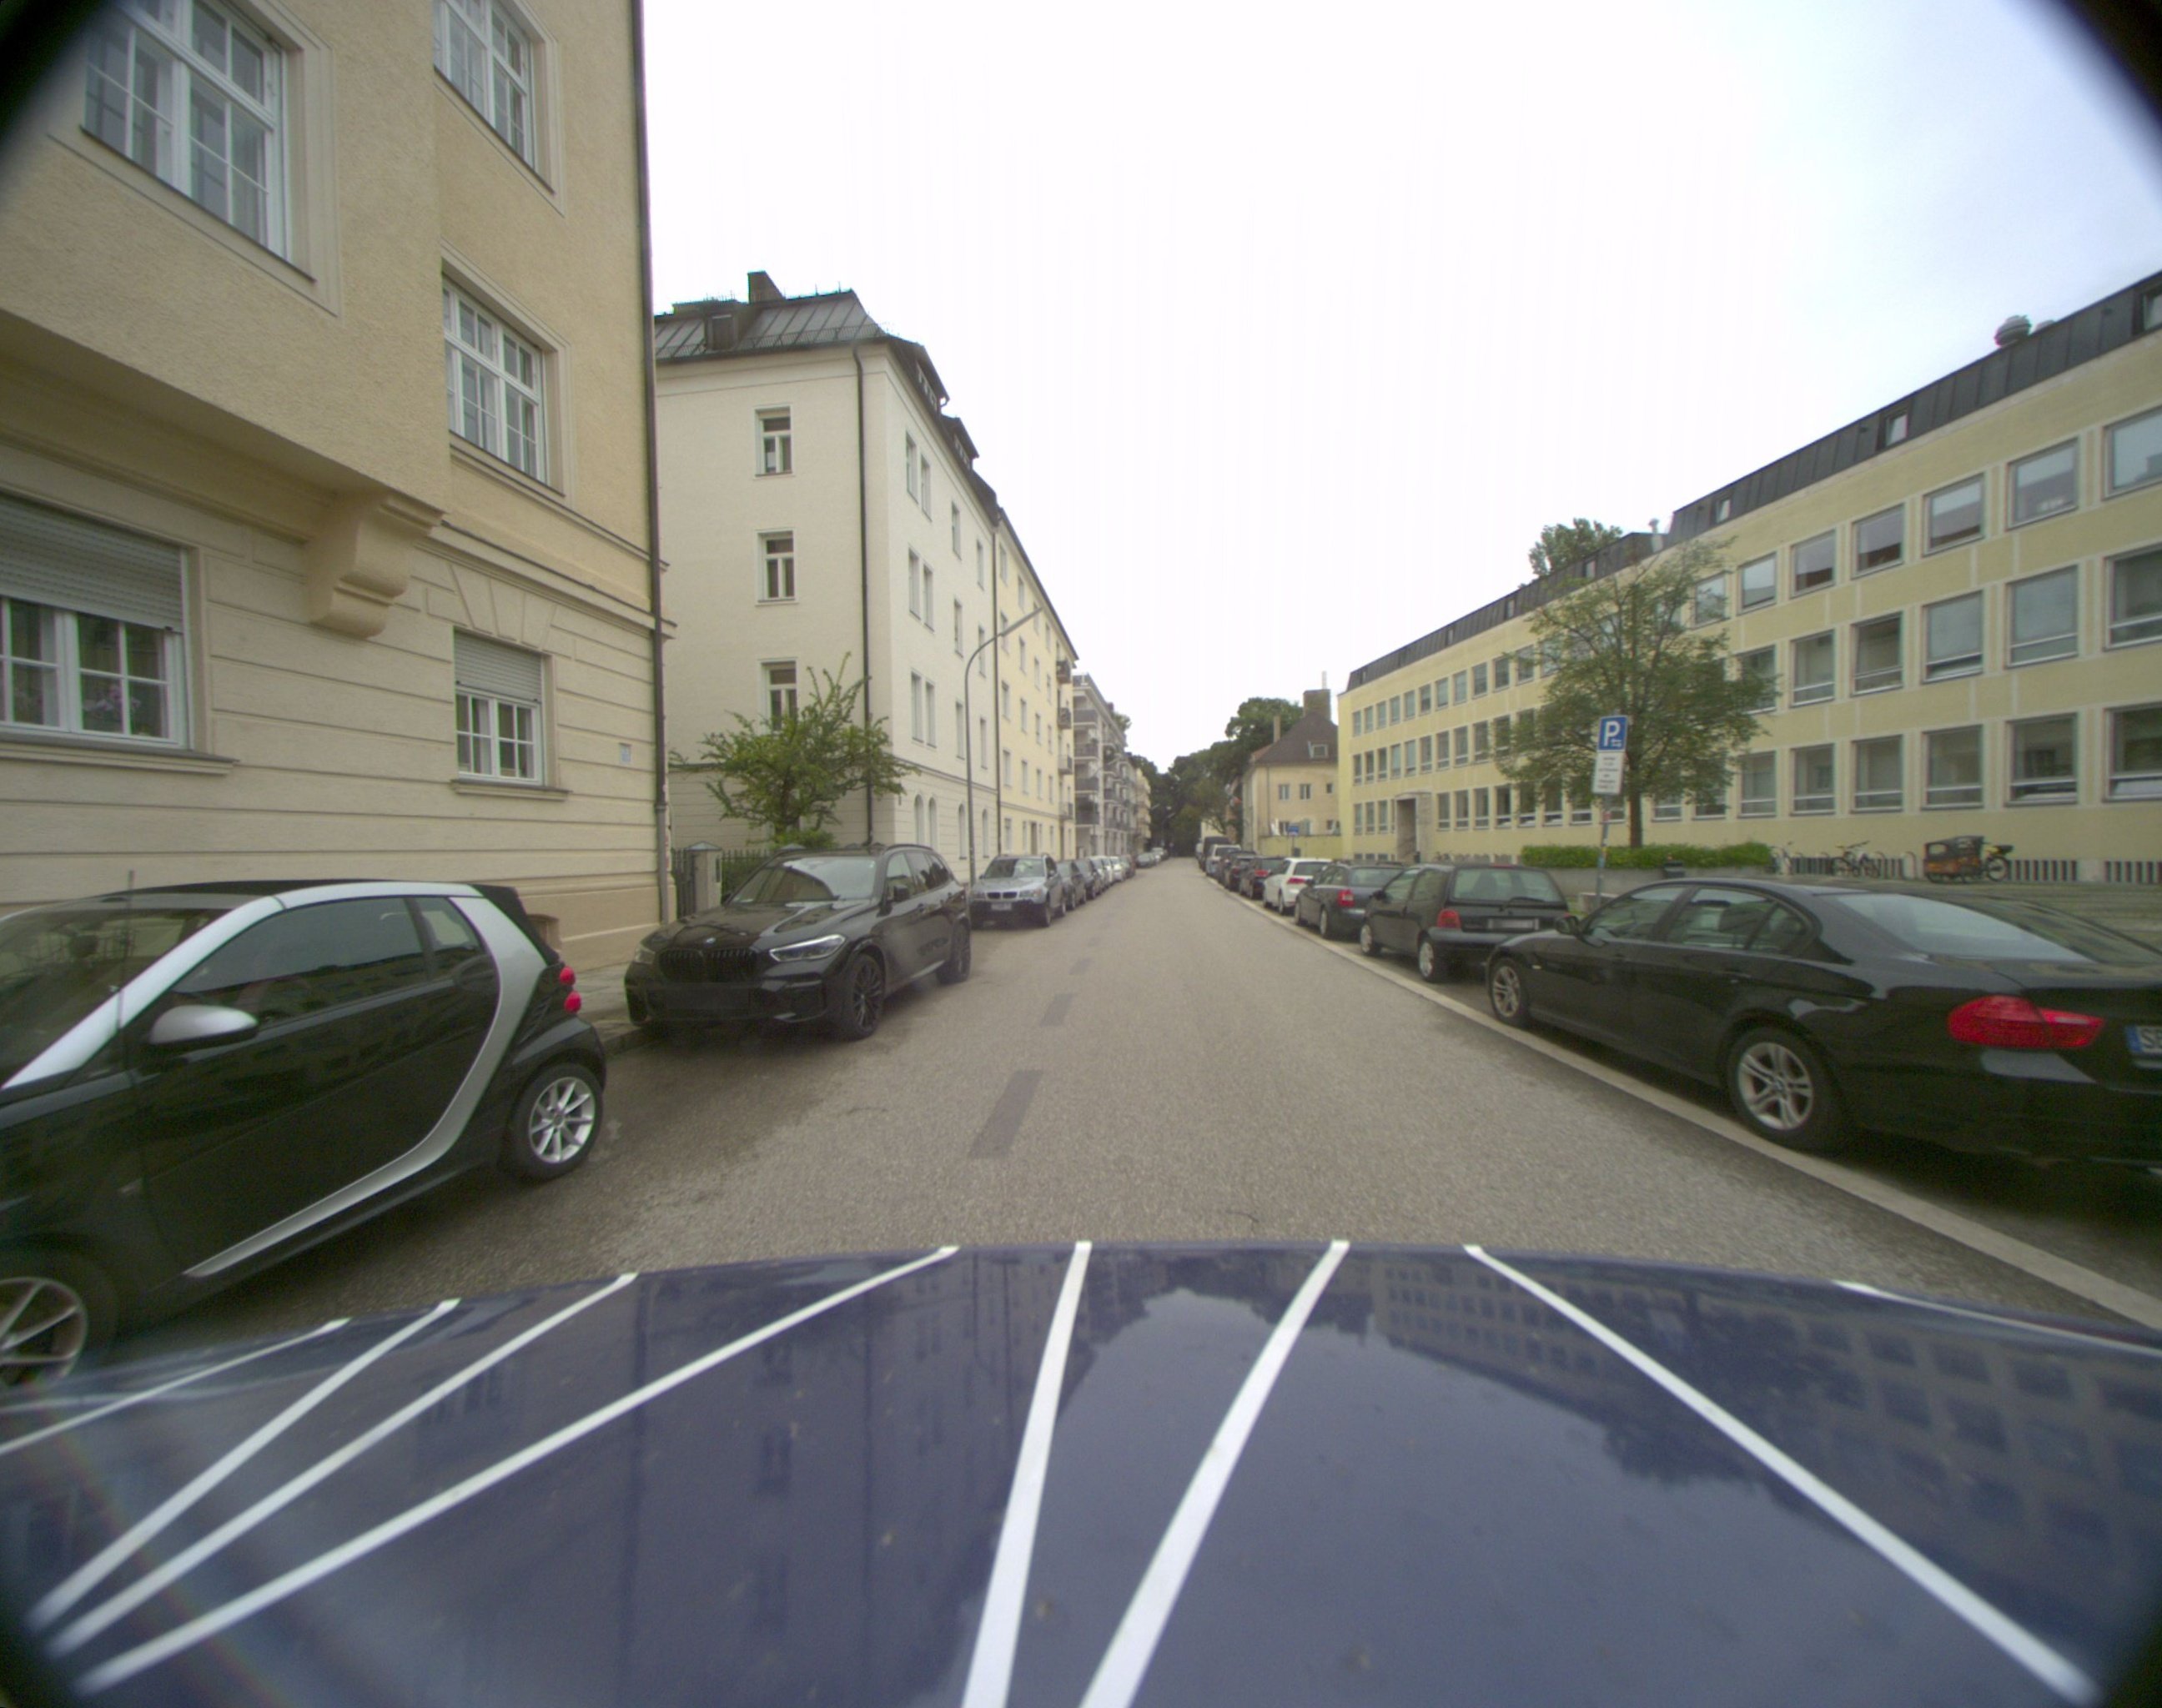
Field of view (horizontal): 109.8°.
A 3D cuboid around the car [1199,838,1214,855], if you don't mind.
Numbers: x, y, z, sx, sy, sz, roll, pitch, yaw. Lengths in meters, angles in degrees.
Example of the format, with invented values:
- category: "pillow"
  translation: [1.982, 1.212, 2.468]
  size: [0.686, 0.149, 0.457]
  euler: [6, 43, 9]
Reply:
- category: "car"
  translation: [18.665, -1.079, 113.171]
  size: [2.103, 2.418, 4.552]
  euler: [-1, 1, 10]

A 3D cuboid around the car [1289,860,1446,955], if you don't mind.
- category: "car"
  translation: [5.263, 0.883, 14.601]
  size: [1.758, 1.445, 4.397]
  euler: [1, 1, 6]

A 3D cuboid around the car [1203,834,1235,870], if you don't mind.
- category: "car"
  translation: [10.736, -0.172, 59.422]
  size: [2.301, 2.630, 5.656]
  euler: [0, 1, 9]

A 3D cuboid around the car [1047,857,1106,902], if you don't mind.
- category: "car"
  translation: [-0.090, 0.889, 28.107]
  size: [1.682, 1.419, 4.392]
  euler: [-1, 1, 6]

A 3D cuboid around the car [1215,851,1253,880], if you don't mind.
- category: "car"
  translation: [8.339, 0.597, 41.653]
  size: [1.747, 1.379, 3.920]
  euler: [-2, 0, 7]

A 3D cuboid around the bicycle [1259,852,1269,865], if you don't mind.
- category: "bicycle"
  translation: [16.288, 0.373, 67.621]
  size: [0.580, 1.125, 1.743]
  euler: [-1, 1, 6]

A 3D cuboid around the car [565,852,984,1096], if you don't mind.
- category: "car"
  translation: [-2.616, 0.910, 8.053]
  size: [1.872, 1.707, 4.867]
  euler: [-3, 1, 8]

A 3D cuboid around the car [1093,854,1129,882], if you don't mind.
- category: "car"
  translation: [1.763, 0.768, 43.258]
  size: [1.682, 1.402, 4.444]
  euler: [-1, 1, 6]

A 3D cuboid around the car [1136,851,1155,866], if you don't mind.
- category: "car"
  translation: [6.539, 0.458, 77.044]
  size: [1.783, 1.386, 4.247]
  euler: [-1, 1, 4]

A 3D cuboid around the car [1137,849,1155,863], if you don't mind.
- category: "car"
  translation: [7.030, 0.223, 81.972]
  size: [1.765, 1.449, 3.419]
  euler: [-1, 1, 7]

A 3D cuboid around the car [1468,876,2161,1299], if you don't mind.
- category: "car"
  translation: [4.513, 0.939, 5.024]
  size: [1.803, 1.398, 4.456]
  euler: [0, 1, 3]

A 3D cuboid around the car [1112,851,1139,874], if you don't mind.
- category: "car"
  translation: [3.189, 0.600, 54.018]
  size: [1.682, 1.489, 3.825]
  euler: [-1, 1, 6]

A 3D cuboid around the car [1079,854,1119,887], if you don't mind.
- category: "car"
  translation: [0.964, 0.793, 38.710]
  size: [1.682, 1.473, 4.168]
  euler: [-1, 1, 6]

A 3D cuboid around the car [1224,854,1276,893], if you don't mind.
- category: "car"
  translation: [6.839, 0.750, 31.095]
  size: [1.683, 1.445, 3.871]
  euler: [1, 1, 6]

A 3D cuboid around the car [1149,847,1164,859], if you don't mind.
- category: "car"
  translation: [9.817, -0.094, 98.319]
  size: [1.765, 1.449, 3.749]
  euler: [-1, 1, 7]

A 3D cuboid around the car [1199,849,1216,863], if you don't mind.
- category: "car"
  translation: [14.364, 0.192, 86.200]
  size: [1.766, 1.505, 3.844]
  euler: [0, 1, 8]

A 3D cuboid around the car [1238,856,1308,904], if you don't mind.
- category: "car"
  translation: [6.469, 0.815, 25.953]
  size: [1.660, 1.445, 3.975]
  euler: [0, 1, 4]

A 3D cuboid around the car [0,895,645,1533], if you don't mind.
- category: "car"
  translation: [-3.518, 1.051, 2.891]
  size: [1.538, 1.515, 3.112]
  euler: [-3, 1, 9]

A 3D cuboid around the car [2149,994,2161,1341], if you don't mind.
- category: "car"
  translation: [4.465, 0.925, 1.083]
  size: [1.674, 1.493, 2.977]
  euler: [0, 1, 1]

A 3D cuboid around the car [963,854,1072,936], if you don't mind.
- category: "car"
  translation: [-1.372, 0.872, 18.288]
  size: [1.726, 1.625, 4.459]
  euler: [-1, 1, 7]

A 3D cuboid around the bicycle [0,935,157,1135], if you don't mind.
- category: "bicycle"
  translation: [-6.662, 1.106, 4.205]
  size: [0.580, 1.077, 1.954]
  euler: [1, 1, 7]

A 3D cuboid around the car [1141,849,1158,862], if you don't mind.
- category: "car"
  translation: [7.782, 0.147, 86.579]
  size: [1.765, 1.449, 3.749]
  euler: [-1, 1, 7]

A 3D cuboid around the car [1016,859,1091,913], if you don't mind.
- category: "car"
  translation: [-0.752, 0.914, 23.430]
  size: [1.682, 1.419, 4.088]
  euler: [-1, 1, 7]

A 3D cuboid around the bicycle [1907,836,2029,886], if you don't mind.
- category: "bicycle"
  translation: [24.114, 0.181, 20.681]
  size: [2.443, 1.241, 1.056]
  euler: [-2, 1, -10]

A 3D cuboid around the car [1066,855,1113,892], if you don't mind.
- category: "car"
  translation: [0.430, 0.823, 33.287]
  size: [1.682, 1.419, 4.168]
  euler: [-1, 1, 6]

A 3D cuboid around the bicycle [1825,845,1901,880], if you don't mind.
- category: "bicycle"
  translation: [23.983, 0.263, 23.307]
  size: [1.953, 1.008, 0.625]
  euler: [-2, 1, -10]

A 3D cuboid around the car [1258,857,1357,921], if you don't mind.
- category: "car"
  translation: [5.838, 0.830, 20.039]
  size: [1.660, 1.445, 4.074]
  euler: [0, 1, 4]

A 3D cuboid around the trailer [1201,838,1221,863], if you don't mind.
- category: "trailer"
  translation: [13.855, -0.438, 80.744]
  size: [1.816, 2.521, 3.391]
  euler: [3, 2, 12]

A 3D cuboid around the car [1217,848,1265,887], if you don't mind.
- category: "car"
  translation: [7.544, 0.590, 36.203]
  size: [1.747, 1.656, 4.450]
  euler: [2, 1, 6]

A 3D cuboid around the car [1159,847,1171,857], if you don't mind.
- category: "car"
  translation: [14.304, -0.356, 129.021]
  size: [1.870, 1.455, 4.270]
  euler: [-1, 1, 9]

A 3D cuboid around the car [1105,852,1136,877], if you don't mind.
- category: "car"
  translation: [2.576, 0.635, 48.645]
  size: [1.682, 1.402, 4.423]
  euler: [-1, 1, 6]

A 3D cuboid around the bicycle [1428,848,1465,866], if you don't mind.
- category: "bicycle"
  translation: [21.450, 0.171, 44.590]
  size: [1.953, 1.008, 0.580]
  euler: [-3, 1, -10]

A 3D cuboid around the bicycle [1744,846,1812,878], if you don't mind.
- category: "bicycle"
  translation: [23.538, 0.268, 25.658]
  size: [1.953, 1.008, 0.625]
  euler: [-2, 1, -10]

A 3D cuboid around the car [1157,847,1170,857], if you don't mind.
- category: "car"
  translation: [12.930, -0.379, 118.958]
  size: [1.870, 1.455, 4.270]
  euler: [-1, 1, 9]

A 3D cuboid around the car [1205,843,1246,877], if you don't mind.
- category: "car"
  translation: [8.755, 0.322, 46.380]
  size: [1.932, 1.968, 5.023]
  euler: [0, 1, 5]

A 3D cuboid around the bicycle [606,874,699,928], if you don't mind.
- category: "bicycle"
  translation: [-9.409, 1.022, 16.686]
  size: [1.875, 1.088, 0.581]
  euler: [1, 2, 13]

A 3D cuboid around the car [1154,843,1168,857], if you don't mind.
- category: "car"
  translation: [11.945, -0.609, 113.397]
  size: [1.870, 2.002, 4.270]
  euler: [-1, 1, 9]

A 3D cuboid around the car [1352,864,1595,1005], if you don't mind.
- category: "car"
  translation: [4.883, 0.899, 9.991]
  size: [1.660, 1.445, 3.313]
  euler: [0, 1, 4]
